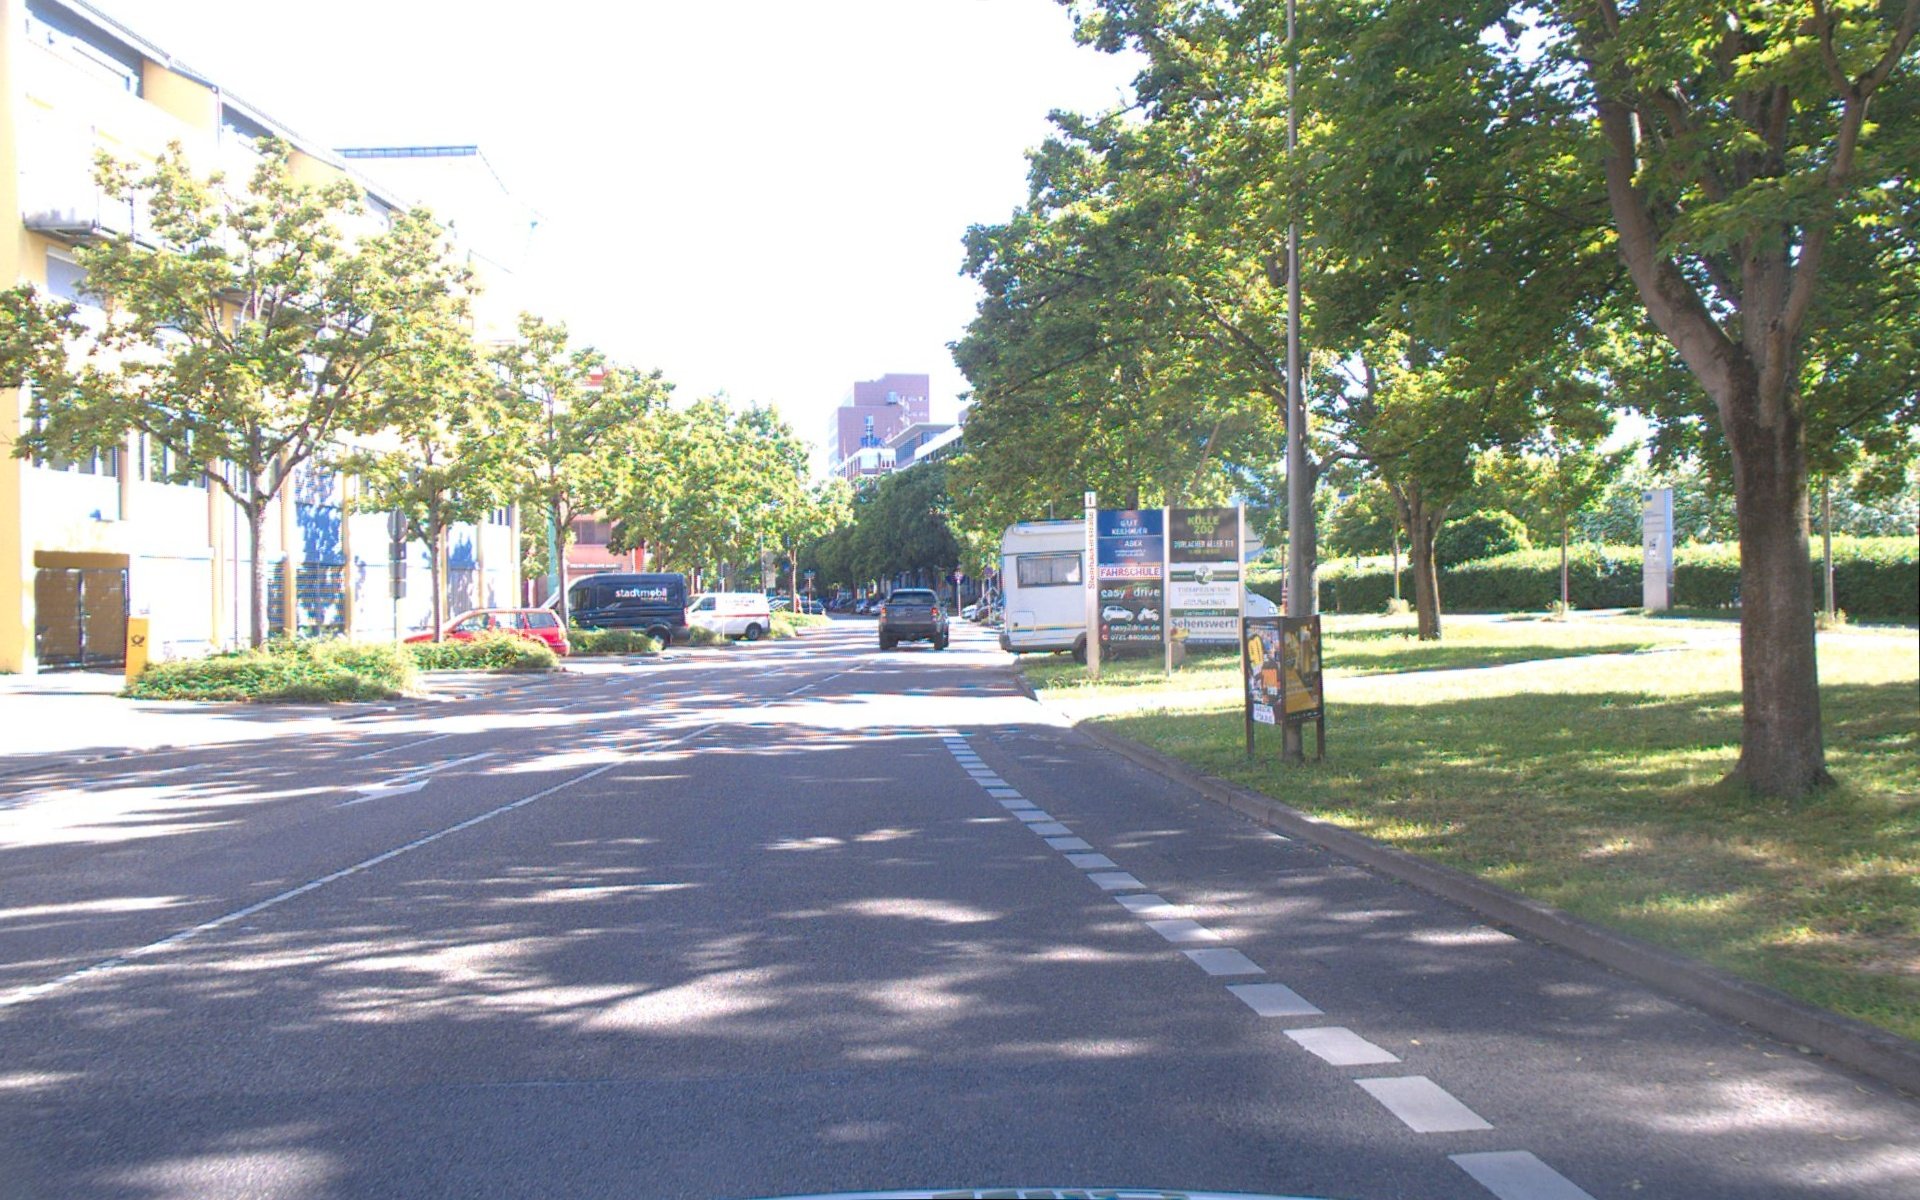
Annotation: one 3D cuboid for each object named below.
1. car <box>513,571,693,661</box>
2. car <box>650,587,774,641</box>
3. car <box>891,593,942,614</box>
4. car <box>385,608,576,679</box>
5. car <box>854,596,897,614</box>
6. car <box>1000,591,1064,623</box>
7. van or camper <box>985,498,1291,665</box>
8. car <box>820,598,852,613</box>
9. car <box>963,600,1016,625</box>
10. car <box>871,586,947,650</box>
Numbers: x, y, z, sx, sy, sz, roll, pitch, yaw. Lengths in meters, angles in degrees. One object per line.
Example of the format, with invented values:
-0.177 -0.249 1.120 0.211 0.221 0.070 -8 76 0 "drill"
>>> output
-11.173 0.473 51.828 5.192 2.590 1.971 -2 0 -24 "car"
-10.472 0.592 70.014 4.840 2.119 1.962 -2 0 -34 "car"
-3.475 0.271 131.803 3.873 1.421 1.514 -4 0 -8 "car"
-11.903 1.049 41.088 4.349 1.579 1.907 -2 0 -24 "car"
-7.996 0.441 155.558 3.873 1.421 1.514 -4 0 -8 "car"
3.746 0.363 86.518 3.178 1.421 1.516 -4 0 0 "car"
3.581 -0.362 34.396 5.955 2.979 2.575 -4 0 0 "van or camper"
-13.265 0.579 177.160 3.218 1.421 1.514 -4 0 -8 "car"
1.790 0.776 101.828 3.178 1.299 1.516 -4 0 0 "car"
-1.543 0.523 52.084 2.089 1.867 4.941 -1 0 2 "car"
